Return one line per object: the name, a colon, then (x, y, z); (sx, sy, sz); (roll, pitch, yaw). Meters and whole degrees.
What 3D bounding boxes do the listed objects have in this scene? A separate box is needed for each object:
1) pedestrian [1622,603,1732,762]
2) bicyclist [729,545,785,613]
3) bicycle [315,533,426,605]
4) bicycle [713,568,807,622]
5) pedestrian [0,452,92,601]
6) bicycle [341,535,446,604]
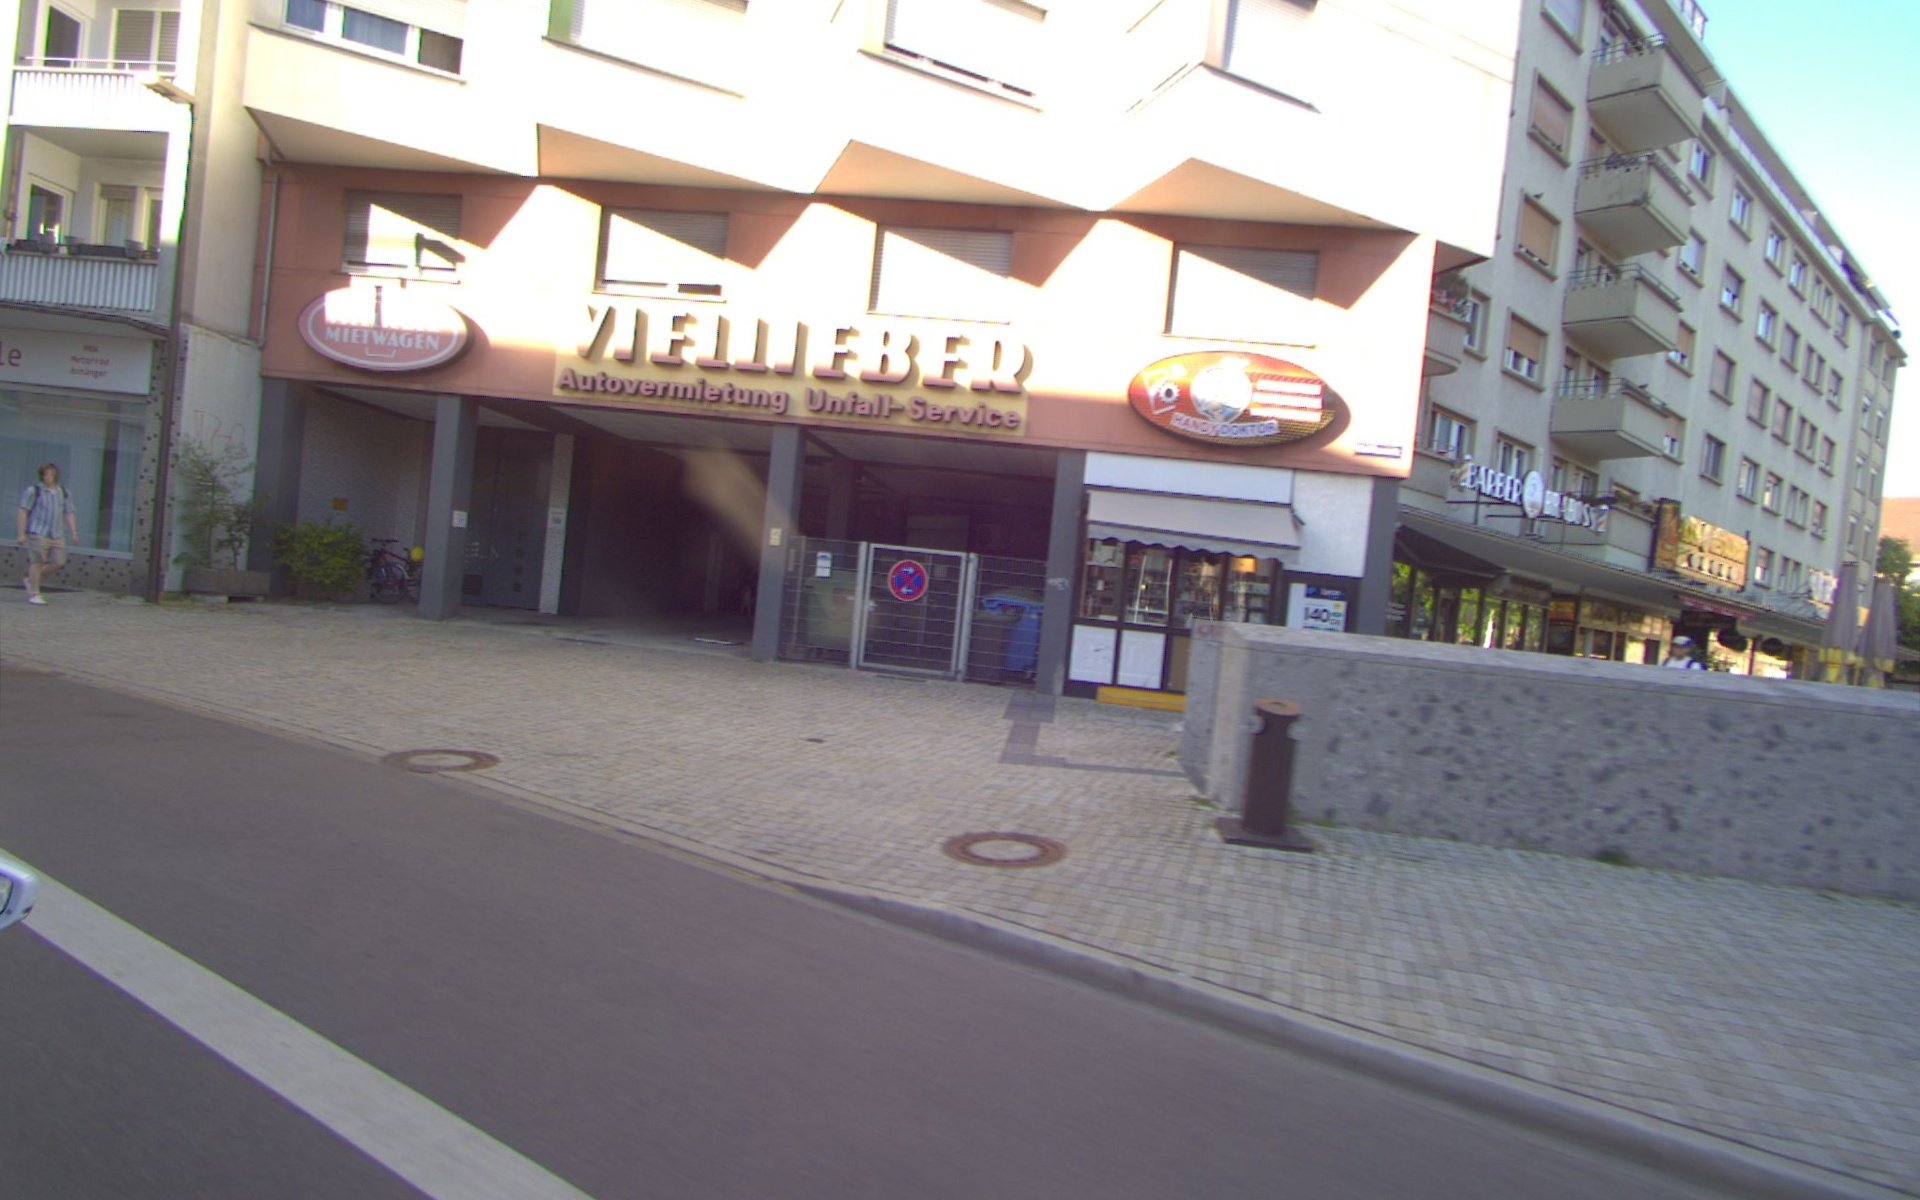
pedestrian: (9.055, 1.035, 12.701); (1.035, 1.890, 0.681); (5, 2, -36)
bicyclist: (-5.528, -0.580, 27.396); (1.175, 1.706, 0.690); (6, 0, 29)
bicycle: (-10.253, -0.537, 17.508); (1.607, 1.052, 0.496); (7, 1, 7)
bicycle: (-5.443, -0.146, 27.329); (2.534, 1.177, 0.690); (6, -1, 29)
pedestrian: (-12.312, -0.974, 13.347); (0.930, 1.880, 0.733); (5, 4, 7)
bicycle: (-10.330, -0.556, 18.358); (1.607, 1.052, 0.496); (7, 1, 7)
